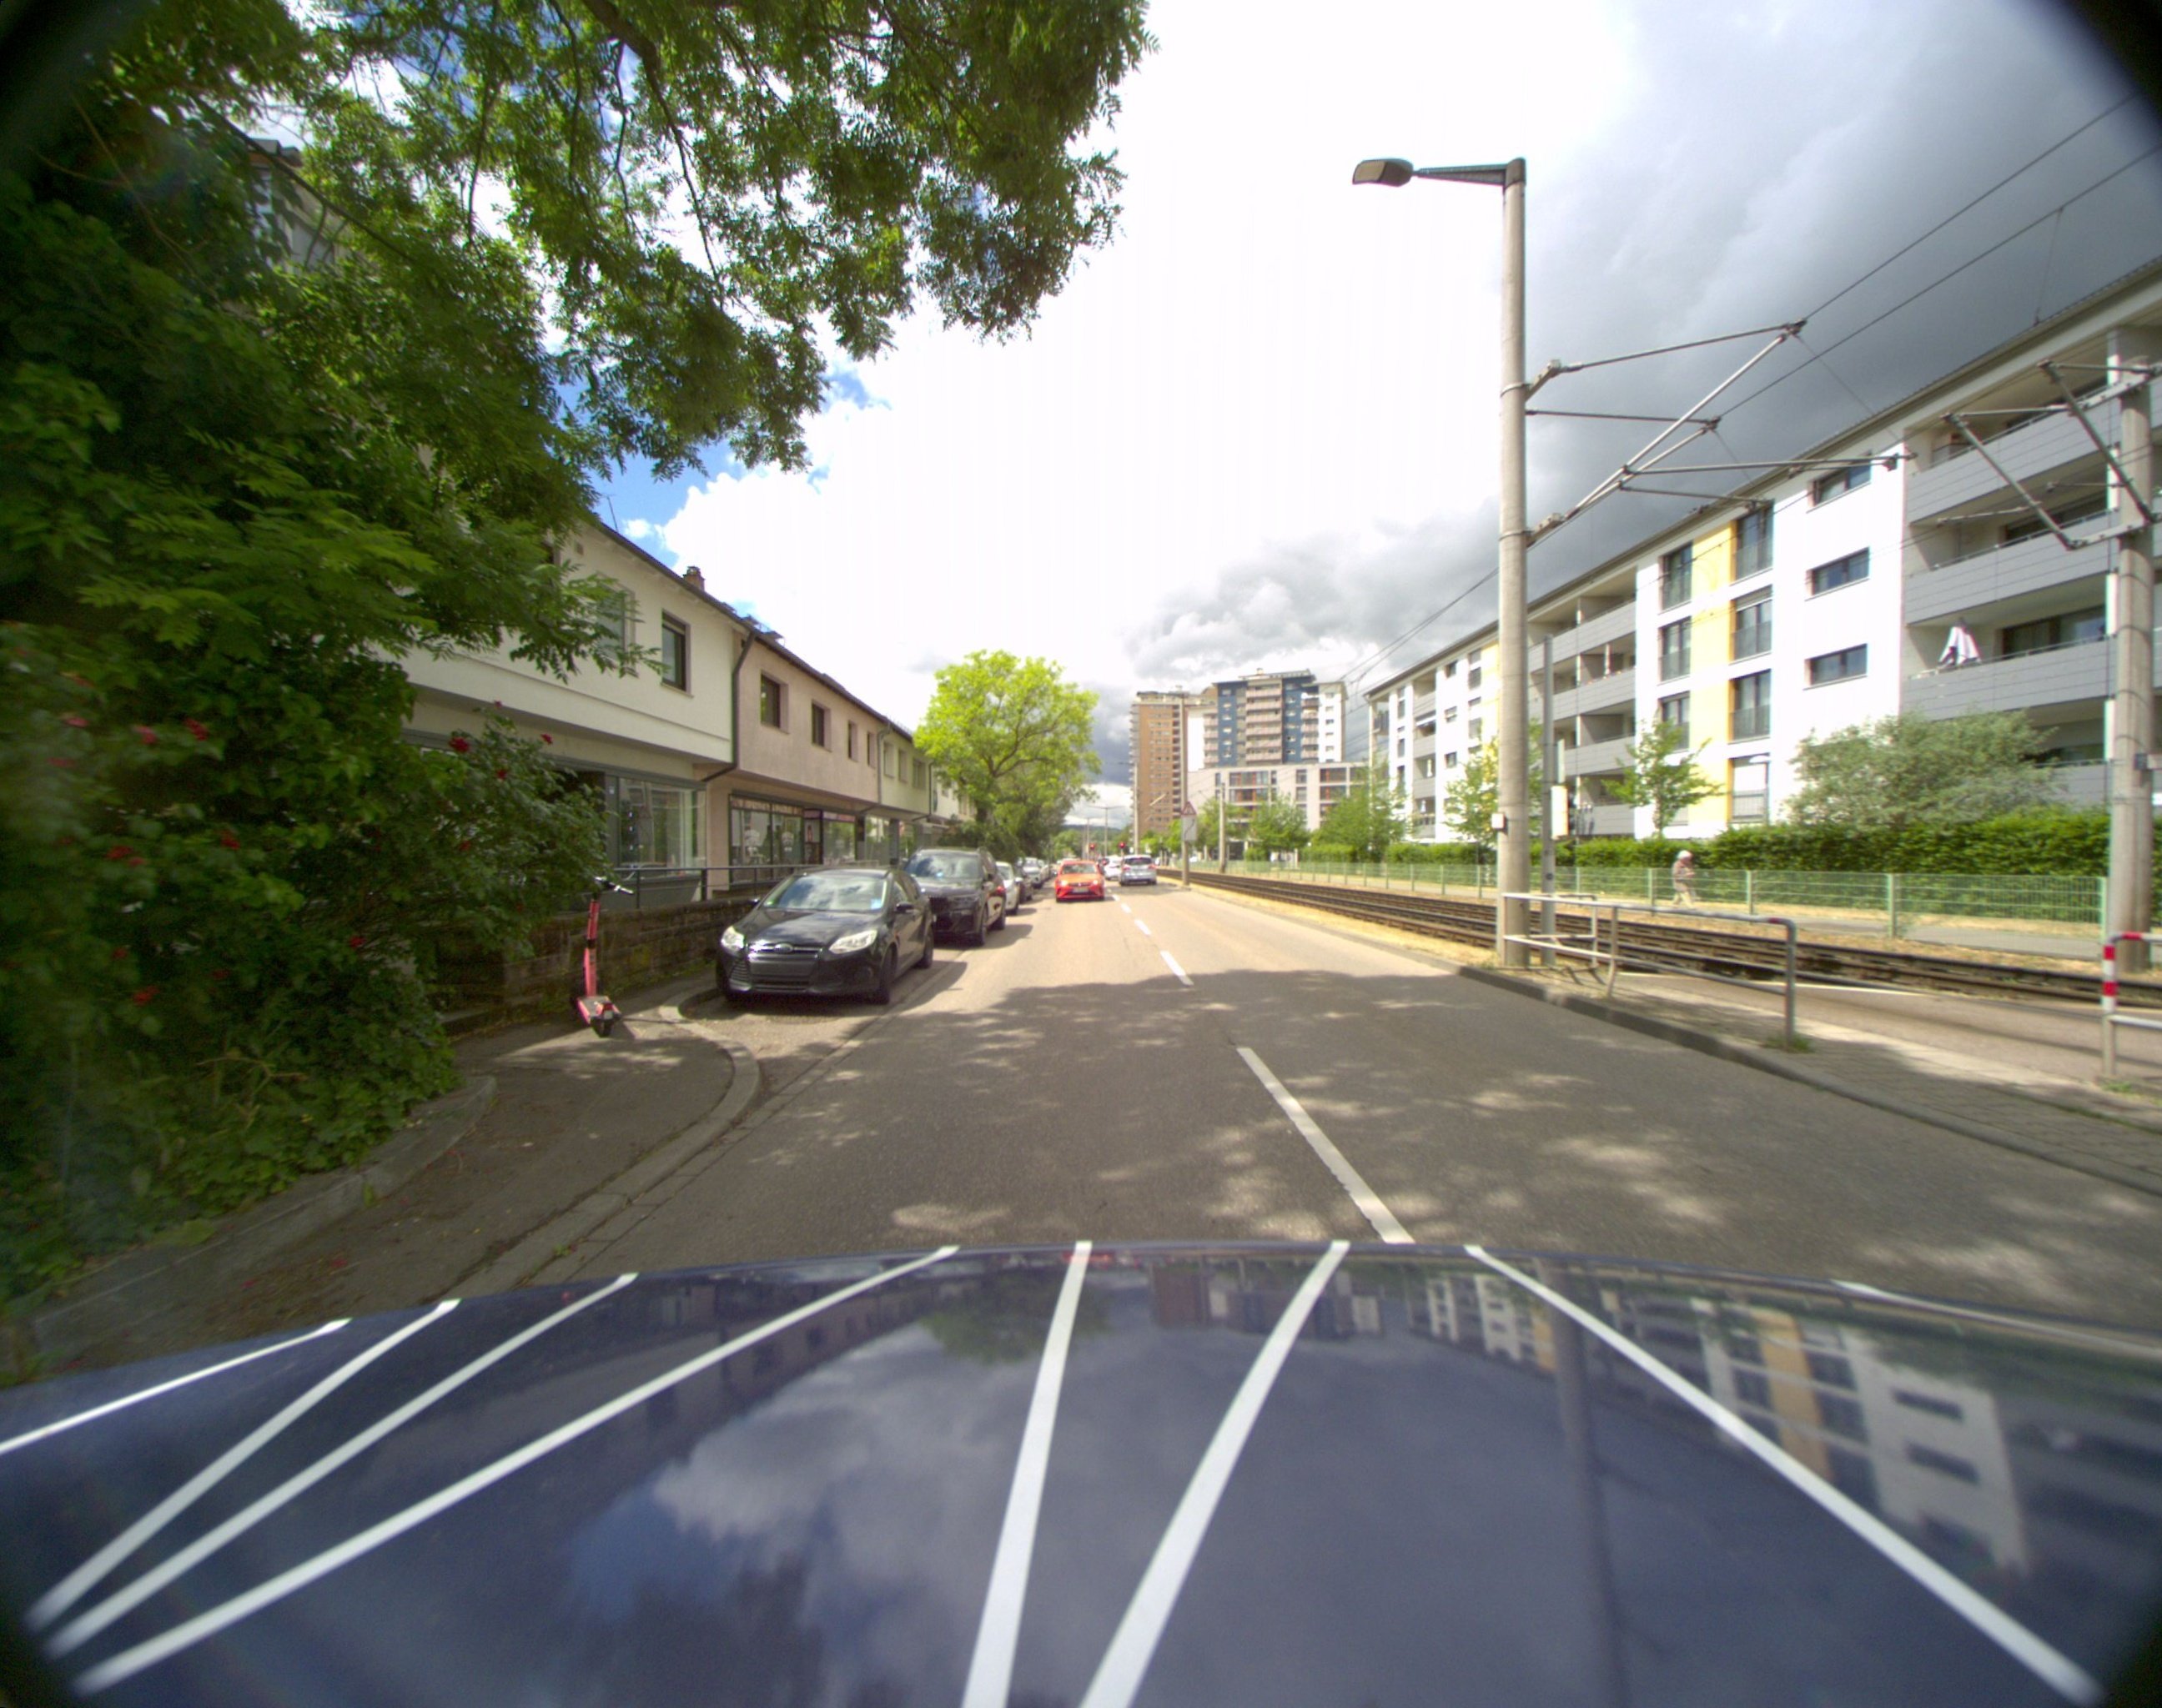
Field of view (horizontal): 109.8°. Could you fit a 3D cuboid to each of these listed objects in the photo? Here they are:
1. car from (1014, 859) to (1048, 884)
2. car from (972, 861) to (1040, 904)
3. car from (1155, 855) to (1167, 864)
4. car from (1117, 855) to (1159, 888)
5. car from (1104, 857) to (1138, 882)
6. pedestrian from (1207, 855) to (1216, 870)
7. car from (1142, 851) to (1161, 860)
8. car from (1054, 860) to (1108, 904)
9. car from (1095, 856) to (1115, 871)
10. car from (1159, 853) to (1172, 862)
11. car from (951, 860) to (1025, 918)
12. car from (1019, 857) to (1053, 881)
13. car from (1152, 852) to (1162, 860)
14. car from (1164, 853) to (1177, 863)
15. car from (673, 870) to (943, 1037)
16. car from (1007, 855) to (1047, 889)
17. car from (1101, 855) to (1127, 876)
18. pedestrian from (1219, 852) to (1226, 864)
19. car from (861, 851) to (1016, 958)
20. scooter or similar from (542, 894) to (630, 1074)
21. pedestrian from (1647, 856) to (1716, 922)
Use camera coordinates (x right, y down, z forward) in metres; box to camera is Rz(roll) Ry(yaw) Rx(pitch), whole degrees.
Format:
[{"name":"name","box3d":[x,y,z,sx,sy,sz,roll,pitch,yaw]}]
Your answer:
[{"name":"car","box3d":[-2.936,1.009,45.562,1.729,1.418,4.446,-1,0,0]},{"name":"car","box3d":[-2.634,0.989,27.535,1.775,1.341,4.001,2,0,4]},{"name":"car","box3d":[15.392,1.058,146.579,1.781,1.530,3.803,-1,0,-2]},{"name":"car","box3d":[3.013,0.892,41.133,1.822,1.604,4.601,-2,0,0]},{"name":"car","box3d":[2.598,0.972,50.478,1.822,1.494,4.836,-2,0,-1]},{"name":"pedestrian","box3d":[14.212,0.942,82.786,0.756,1.603,0.938,-1,1,-1]},{"name":"car","box3d":[16.484,0.308,177.613,4.505,1.914,1.877,-1,0,-41]},{"name":"car","box3d":[0.009,0.976,27.991,1.792,1.387,4.241,-2,0,0]},{"name":"car","box3d":[2.299,0.913,74.636,1.815,1.437,4.464,-1,0,0]},{"name":"car","box3d":[15.585,0.612,140.078,1.781,1.530,3.803,-1,0,-2]},{"name":"car","box3d":[-2.618,0.956,22.241,1.776,1.434,3.898,2,0,-2]},{"name":"car","box3d":[-3.009,1.007,51.506,1.818,1.490,4.911,-1,0,2]},{"name":"car","box3d":[17.298,0.441,173.290,1.781,1.650,3.803,-1,0,-2]},{"name":"car","box3d":[15.778,0.695,134.022,1.894,1.530,3.803,-1,0,0]},{"name":"car","box3d":[-2.989,0.995,9.384,1.839,1.497,4.242,0,0,-1]},{"name":"car","box3d":[-2.780,0.894,39.949,1.842,1.634,4.429,-1,0,-1]},{"name":"car","box3d":[2.827,0.962,66.083,1.862,1.680,4.432,-1,0,-2]},{"name":"pedestrian","box3d":[19.390,0.517,104.160,0.749,1.644,0.538,-1,1,-1]},{"name":"car","box3d":[-2.607,0.833,15.250,2.020,1.778,5.076,0,0,1]},{"name":"scooter or similar","box3d":[-3.996,0.964,6.109,0.537,1.235,1.233,0,0,-35]},{"name":"pedestrian","box3d":[13.980,0.786,17.721,0.798,1.474,0.995,-1,1,-1]}]
